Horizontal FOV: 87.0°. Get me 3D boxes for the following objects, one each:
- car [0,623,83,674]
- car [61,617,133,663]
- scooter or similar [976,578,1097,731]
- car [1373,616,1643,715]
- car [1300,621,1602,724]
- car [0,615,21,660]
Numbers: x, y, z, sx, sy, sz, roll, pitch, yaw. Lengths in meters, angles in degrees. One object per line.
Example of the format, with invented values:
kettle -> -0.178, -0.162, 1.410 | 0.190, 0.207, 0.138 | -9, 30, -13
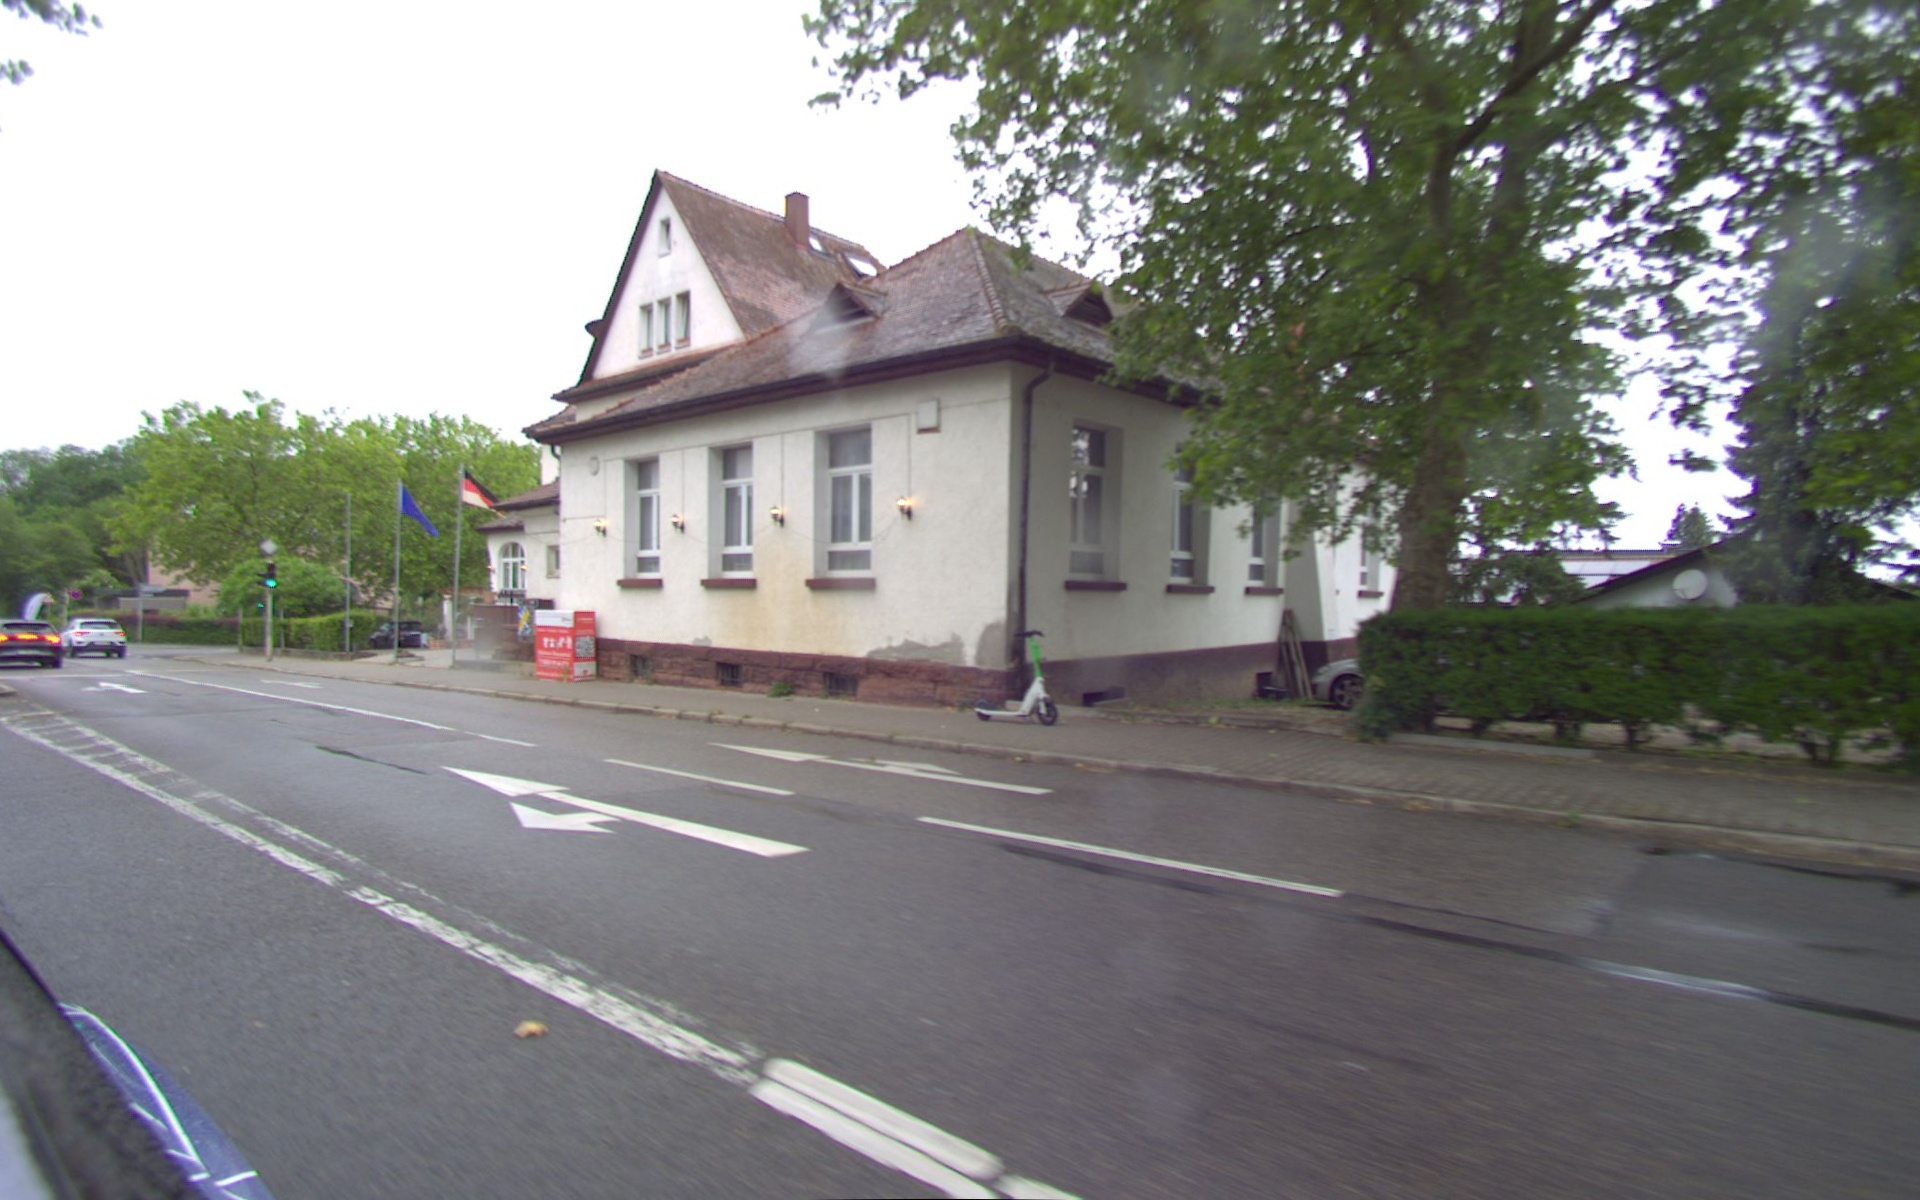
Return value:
car -> -28.135, 1.424, 30.245 | 4.379, 1.440, 1.976 | -2, -2, 36
car -> -35.595, 1.697, 41.709 | 1.970, 1.697, 4.003 | 6, -7, -43
scooter or similar -> 0.921, 0.632, 12.399 | 1.510, 1.788, 0.397 | 0, 0, 38
car -> 10.460, 1.198, 19.468 | 4.254, 1.698, 1.973 | -2, -3, 40
car -> 8.178, 1.162, 17.064 | 4.283, 1.452, 1.733 | 0, -4, 41
car -> -37.093, 1.409, 37.649 | 4.286, 1.674, 1.980 | -1, -2, 30
